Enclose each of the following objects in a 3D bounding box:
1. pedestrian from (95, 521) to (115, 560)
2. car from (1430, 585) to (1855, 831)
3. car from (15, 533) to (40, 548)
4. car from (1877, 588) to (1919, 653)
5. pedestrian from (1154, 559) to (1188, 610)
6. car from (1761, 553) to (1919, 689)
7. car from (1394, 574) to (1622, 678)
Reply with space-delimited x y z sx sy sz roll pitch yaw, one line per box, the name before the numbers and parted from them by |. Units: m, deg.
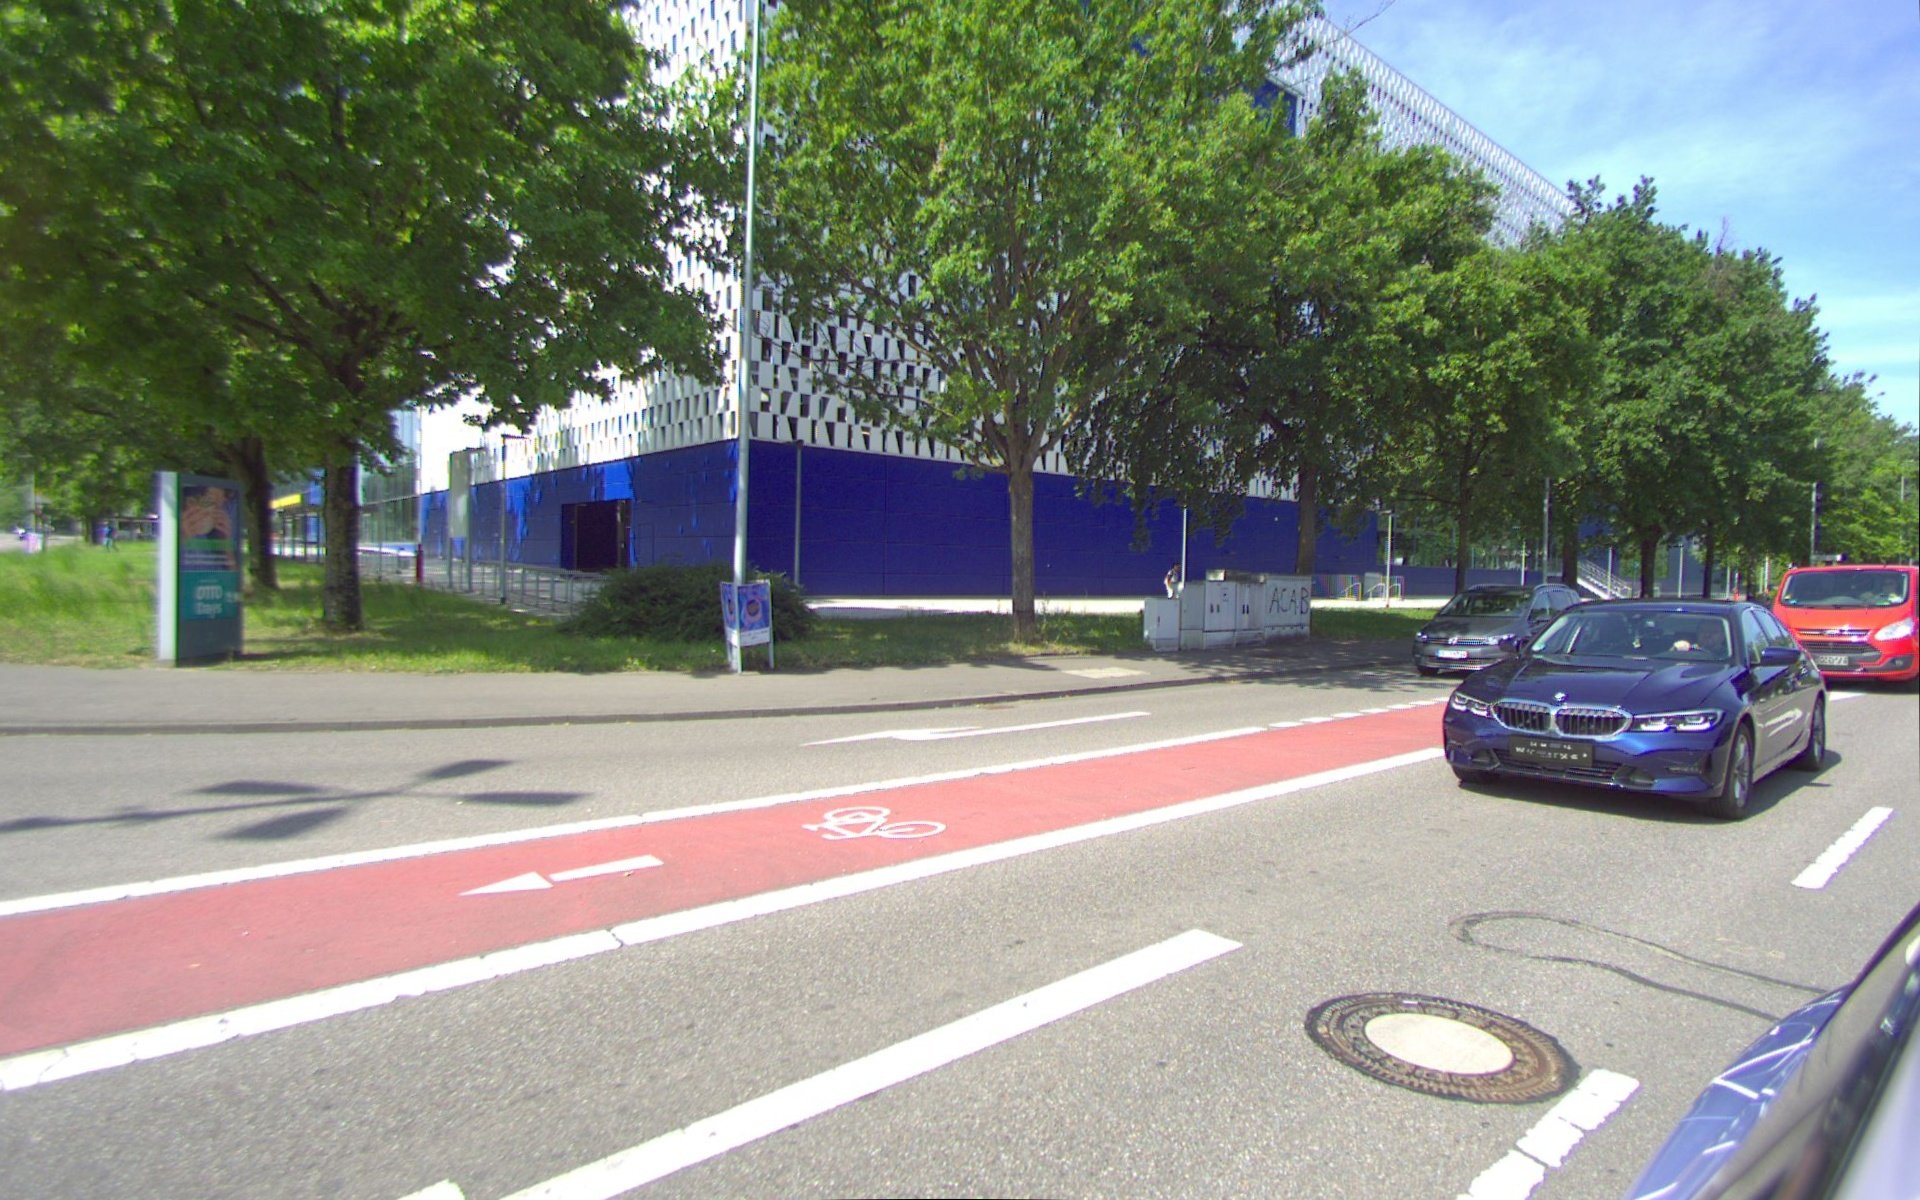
pedestrian | -45.410 -3.134 53.756 0.597 2.039 0.673 -1 0 36
car | 5.667 0.608 8.156 4.460 1.447 1.798 -1 1 -42
car | -101.339 -6.420 109.996 1.611 1.554 3.915 0 2 -37
car | 22.792 0.445 23.638 3.849 1.440 1.690 -1 1 -43
pedestrian | 6.504 -0.485 31.183 0.767 1.565 0.680 0 2 -41
car | 14.834 0.273 16.498 4.727 1.931 2.012 -1 0 -42
car | 10.042 0.385 18.454 4.309 1.676 2.000 -1 1 -36
